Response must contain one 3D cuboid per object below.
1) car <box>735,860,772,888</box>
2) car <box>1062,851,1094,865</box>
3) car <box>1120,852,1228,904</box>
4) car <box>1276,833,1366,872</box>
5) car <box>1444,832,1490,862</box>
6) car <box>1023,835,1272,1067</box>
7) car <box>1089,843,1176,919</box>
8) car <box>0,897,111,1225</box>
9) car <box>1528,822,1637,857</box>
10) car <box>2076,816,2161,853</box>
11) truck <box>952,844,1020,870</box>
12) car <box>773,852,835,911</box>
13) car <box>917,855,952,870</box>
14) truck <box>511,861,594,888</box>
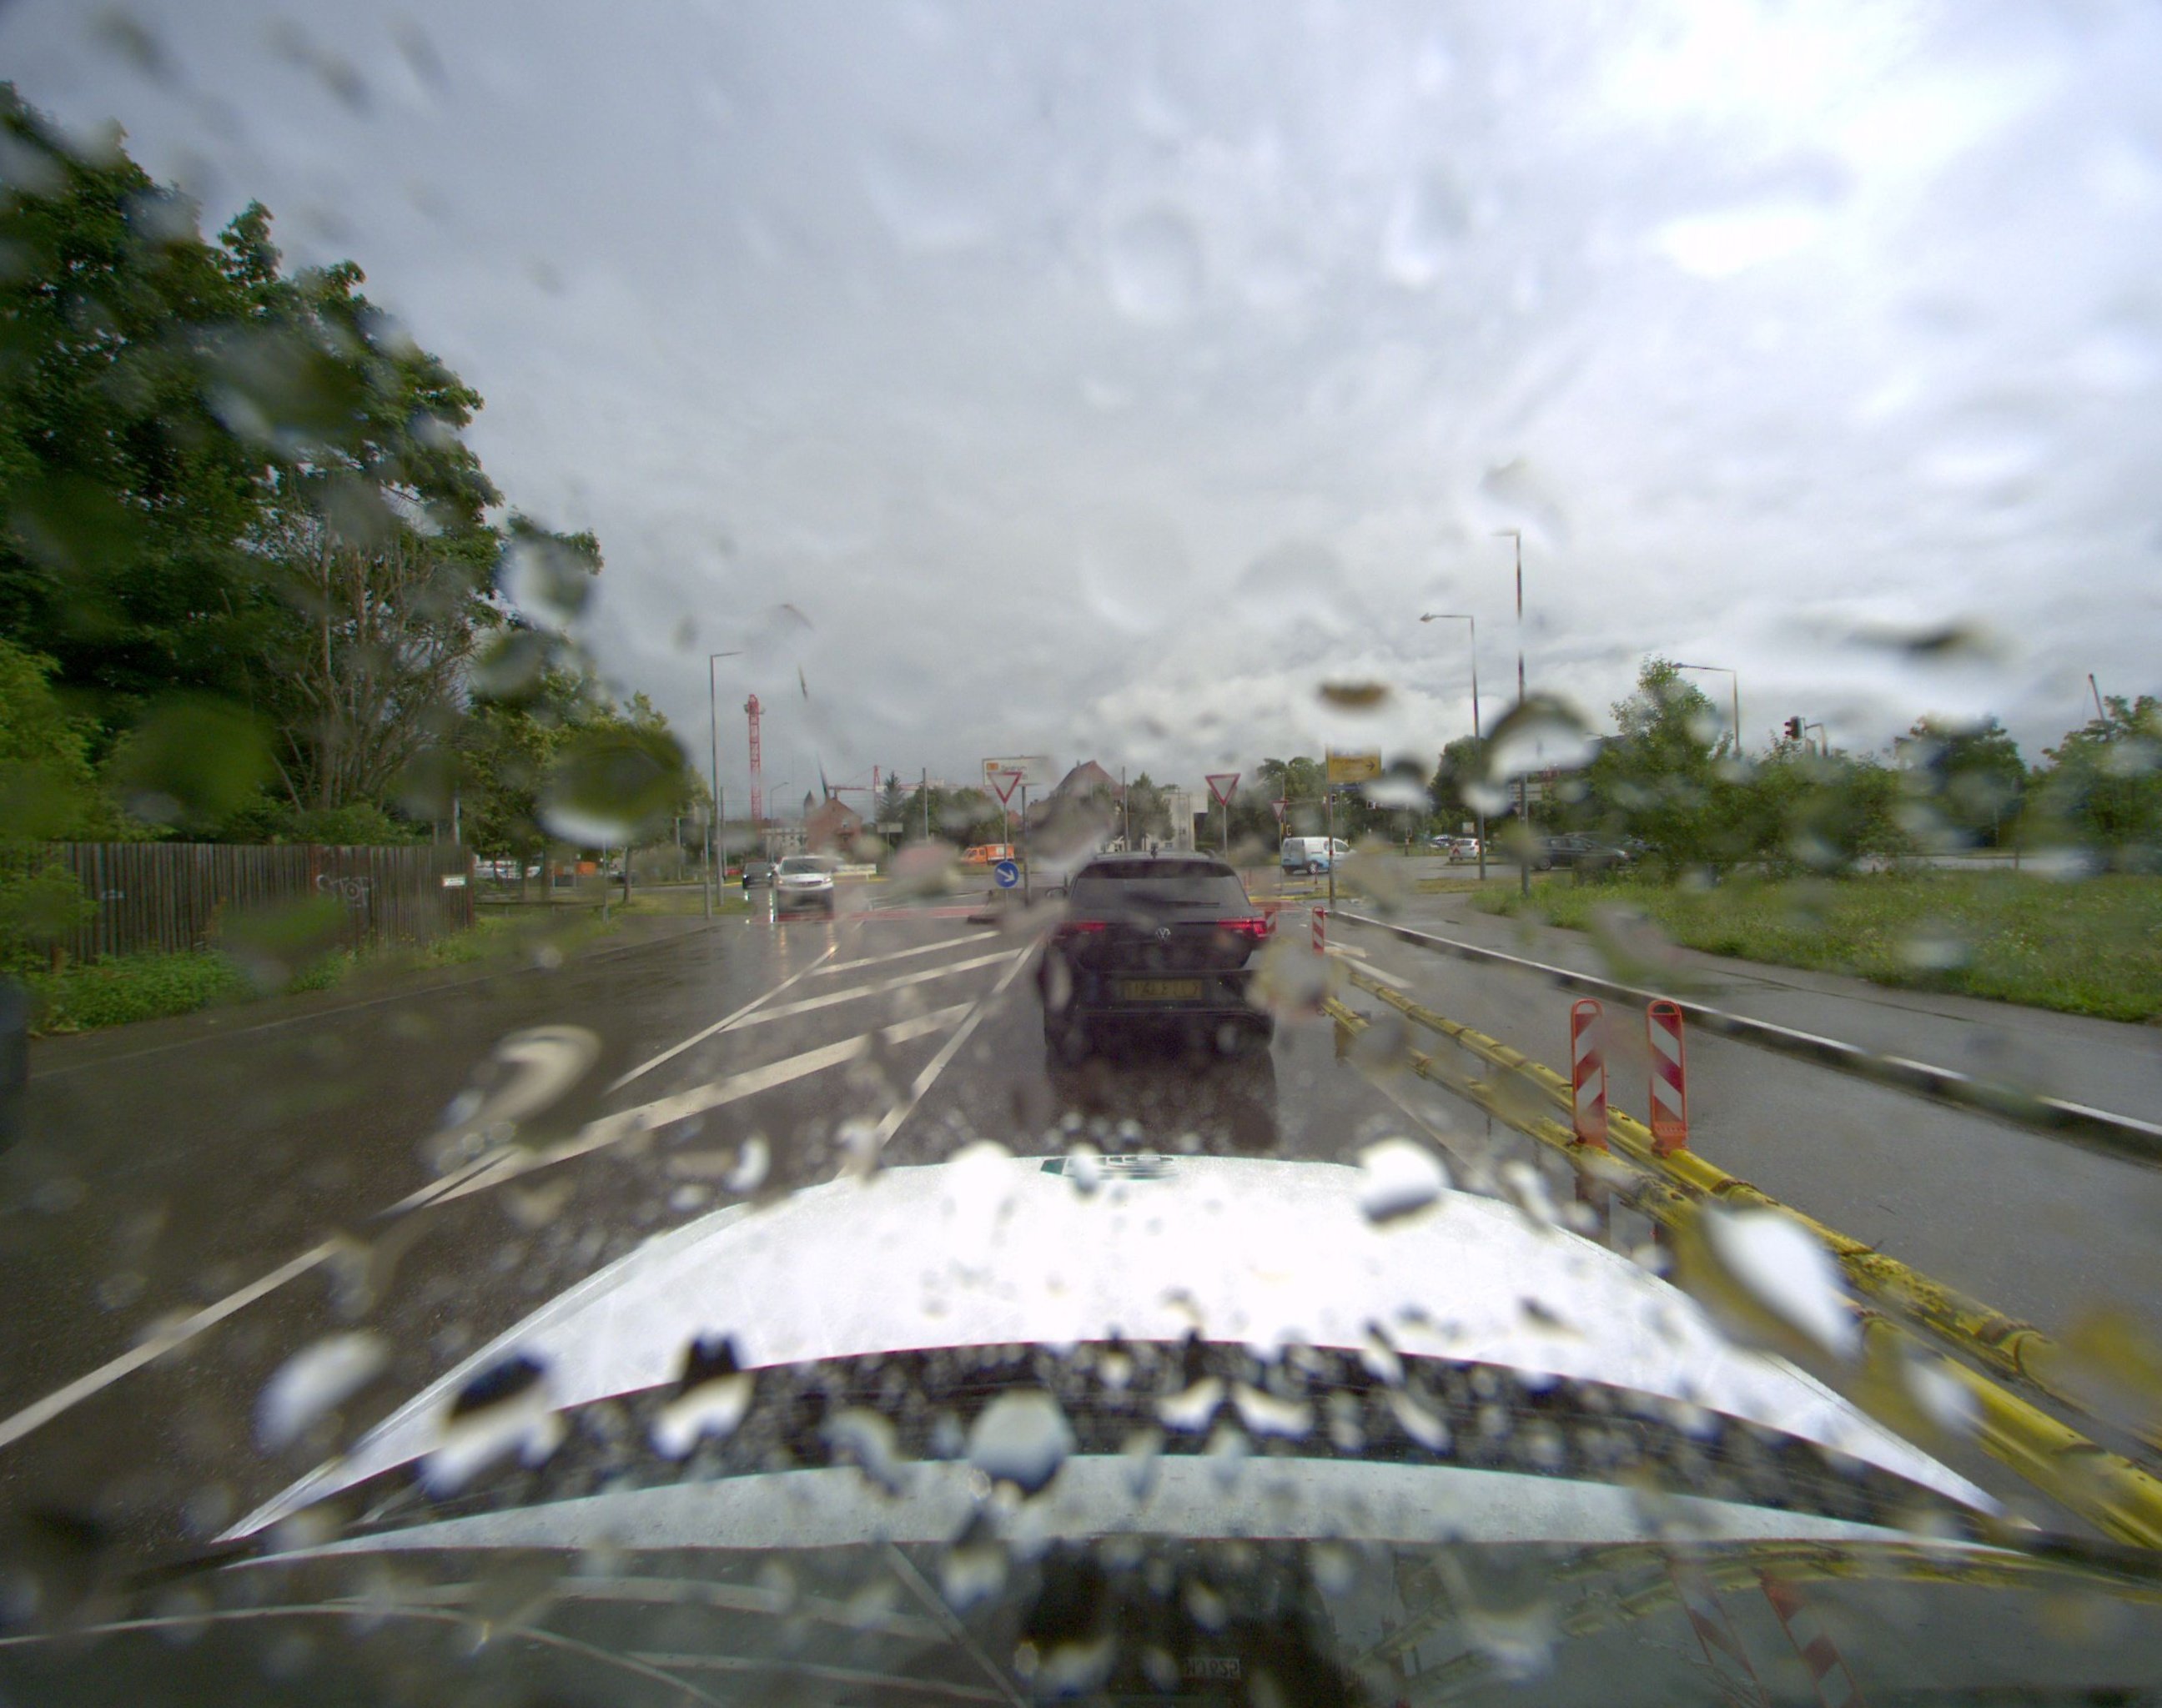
[{"bbox_3d":[-21.074,1.273,52.291,1.744,1.664,4.072,-2,0,-28],"label":"car"},{"bbox_3d":[-0.385,0.515,98.895,3.864,1.584,1.565,-2,0,-4],"label":"car"},{"bbox_3d":[3.647,0.880,31.355,1.974,1.725,4.384,-2,0,40],"label":"car"},{"bbox_3d":[12.127,-0.097,41.118,4.418,1.809,1.852,-2,0,-31],"label":"car"},{"bbox_3d":[25.272,-0.463,53.255,1.974,1.830,4.026,-2,0,36],"label":"car"},{"bbox_3d":[0.443,0.674,7.482,1.703,1.574,3.681,-1,0,-1],"label":"car"},{"bbox_3d":[1.063,0.547,18.414,1.729,1.514,3.603,-2,0,0],"label":"car"},{"bbox_3d":[-5.833,0.976,2.035,1.870,1.482,4.173,-2,-1,-3],"label":"car"},{"bbox_3d":[24.670,-0.693,40.286,4.350,1.548,1.881,-1,0,24],"label":"car"},{"bbox_3d":[48.037,-0.905,36.581,1.925,1.560,4.064,-2,0,-42],"label":"car"},{"bbox_3d":[-10.377,0.342,89.142,7.114,2.650,2.306,-2,0,-32],"label":"truck"},{"bbox_3d":[-10.029,0.928,29.485,1.894,1.876,5.099,-2,0,-19],"label":"car"},{"bbox_3d":[-16.166,0.940,89.828,3.523,1.584,1.549,-2,0,-38],"label":"car"},{"bbox_3d":[-53.706,2.039,82.901,6.685,2.442,2.432,-2,0,-3],"label":"truck"}]
